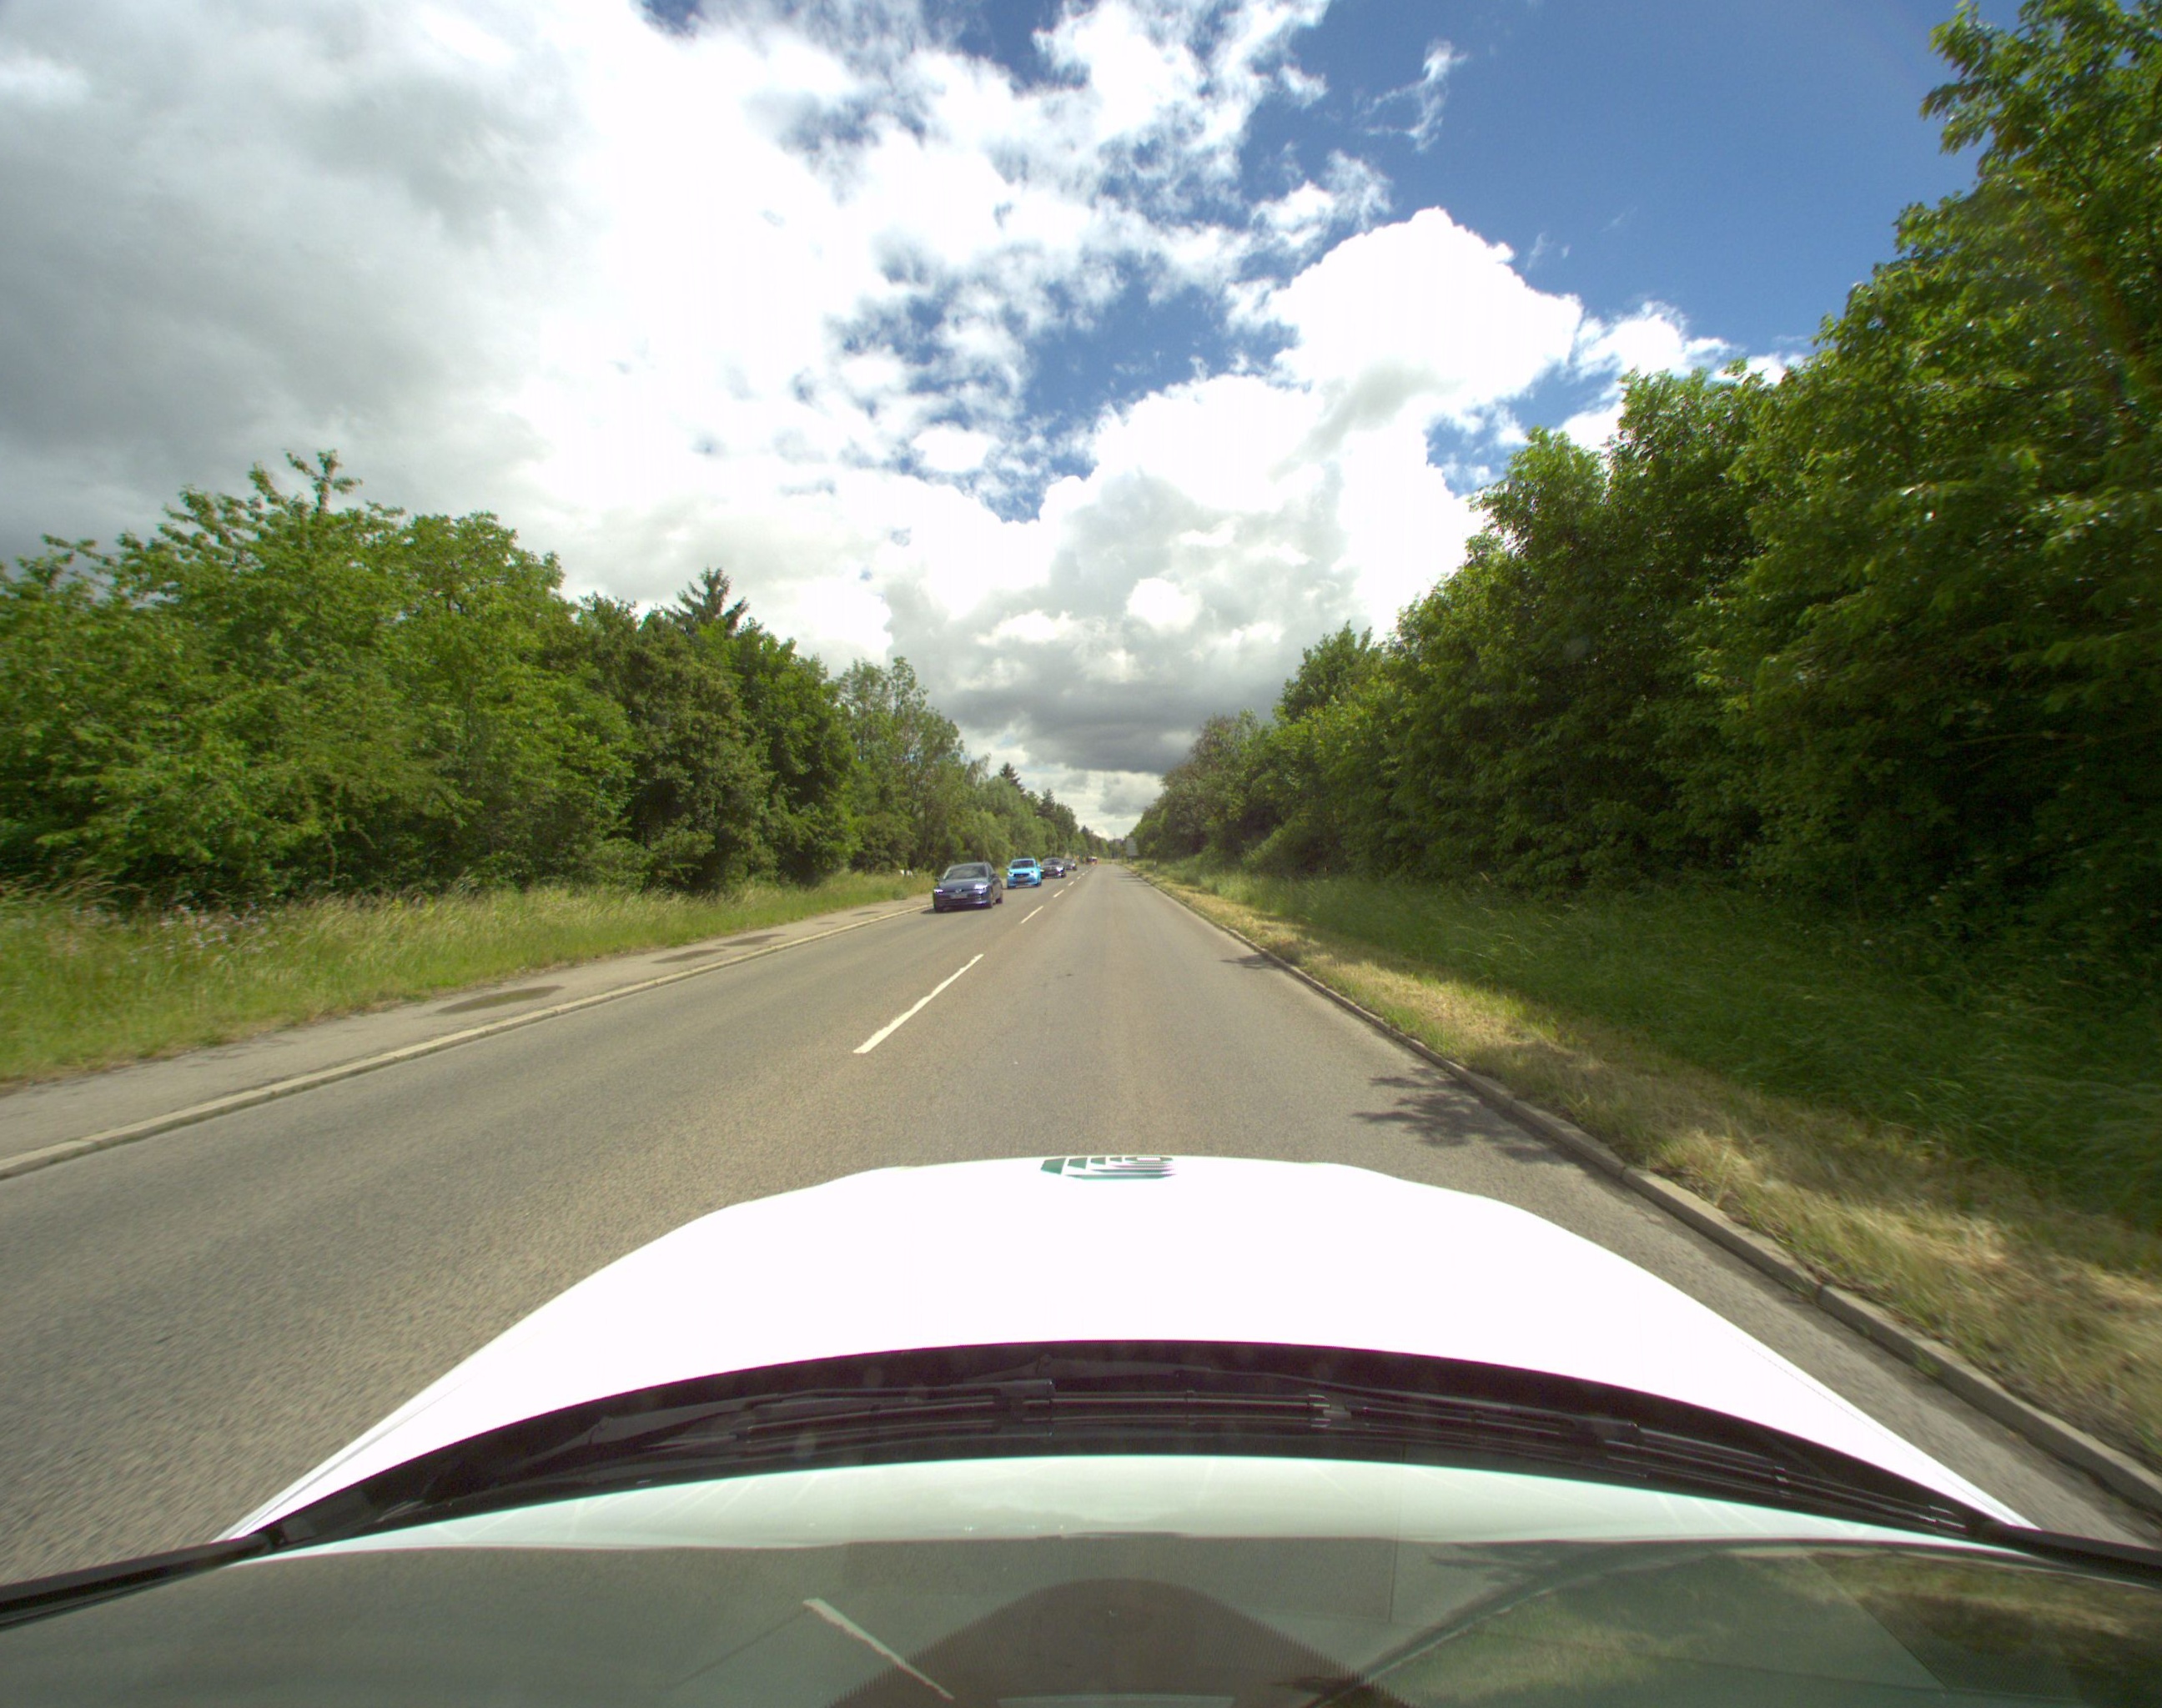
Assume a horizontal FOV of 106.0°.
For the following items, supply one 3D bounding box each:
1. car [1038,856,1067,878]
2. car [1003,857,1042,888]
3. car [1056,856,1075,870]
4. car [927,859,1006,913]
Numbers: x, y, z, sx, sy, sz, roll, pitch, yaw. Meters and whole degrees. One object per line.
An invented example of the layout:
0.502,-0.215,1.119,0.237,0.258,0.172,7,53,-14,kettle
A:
-2.099,0.940,60.990,1.878,1.491,4.717,-4,0,1,car
-3.072,0.956,43.354,1.778,1.446,2.966,-4,0,0,car
-1.693,1.005,90.338,1.778,1.334,4.623,-4,0,1,car
-3.584,0.947,26.187,1.778,1.446,4.452,-4,0,1,car
